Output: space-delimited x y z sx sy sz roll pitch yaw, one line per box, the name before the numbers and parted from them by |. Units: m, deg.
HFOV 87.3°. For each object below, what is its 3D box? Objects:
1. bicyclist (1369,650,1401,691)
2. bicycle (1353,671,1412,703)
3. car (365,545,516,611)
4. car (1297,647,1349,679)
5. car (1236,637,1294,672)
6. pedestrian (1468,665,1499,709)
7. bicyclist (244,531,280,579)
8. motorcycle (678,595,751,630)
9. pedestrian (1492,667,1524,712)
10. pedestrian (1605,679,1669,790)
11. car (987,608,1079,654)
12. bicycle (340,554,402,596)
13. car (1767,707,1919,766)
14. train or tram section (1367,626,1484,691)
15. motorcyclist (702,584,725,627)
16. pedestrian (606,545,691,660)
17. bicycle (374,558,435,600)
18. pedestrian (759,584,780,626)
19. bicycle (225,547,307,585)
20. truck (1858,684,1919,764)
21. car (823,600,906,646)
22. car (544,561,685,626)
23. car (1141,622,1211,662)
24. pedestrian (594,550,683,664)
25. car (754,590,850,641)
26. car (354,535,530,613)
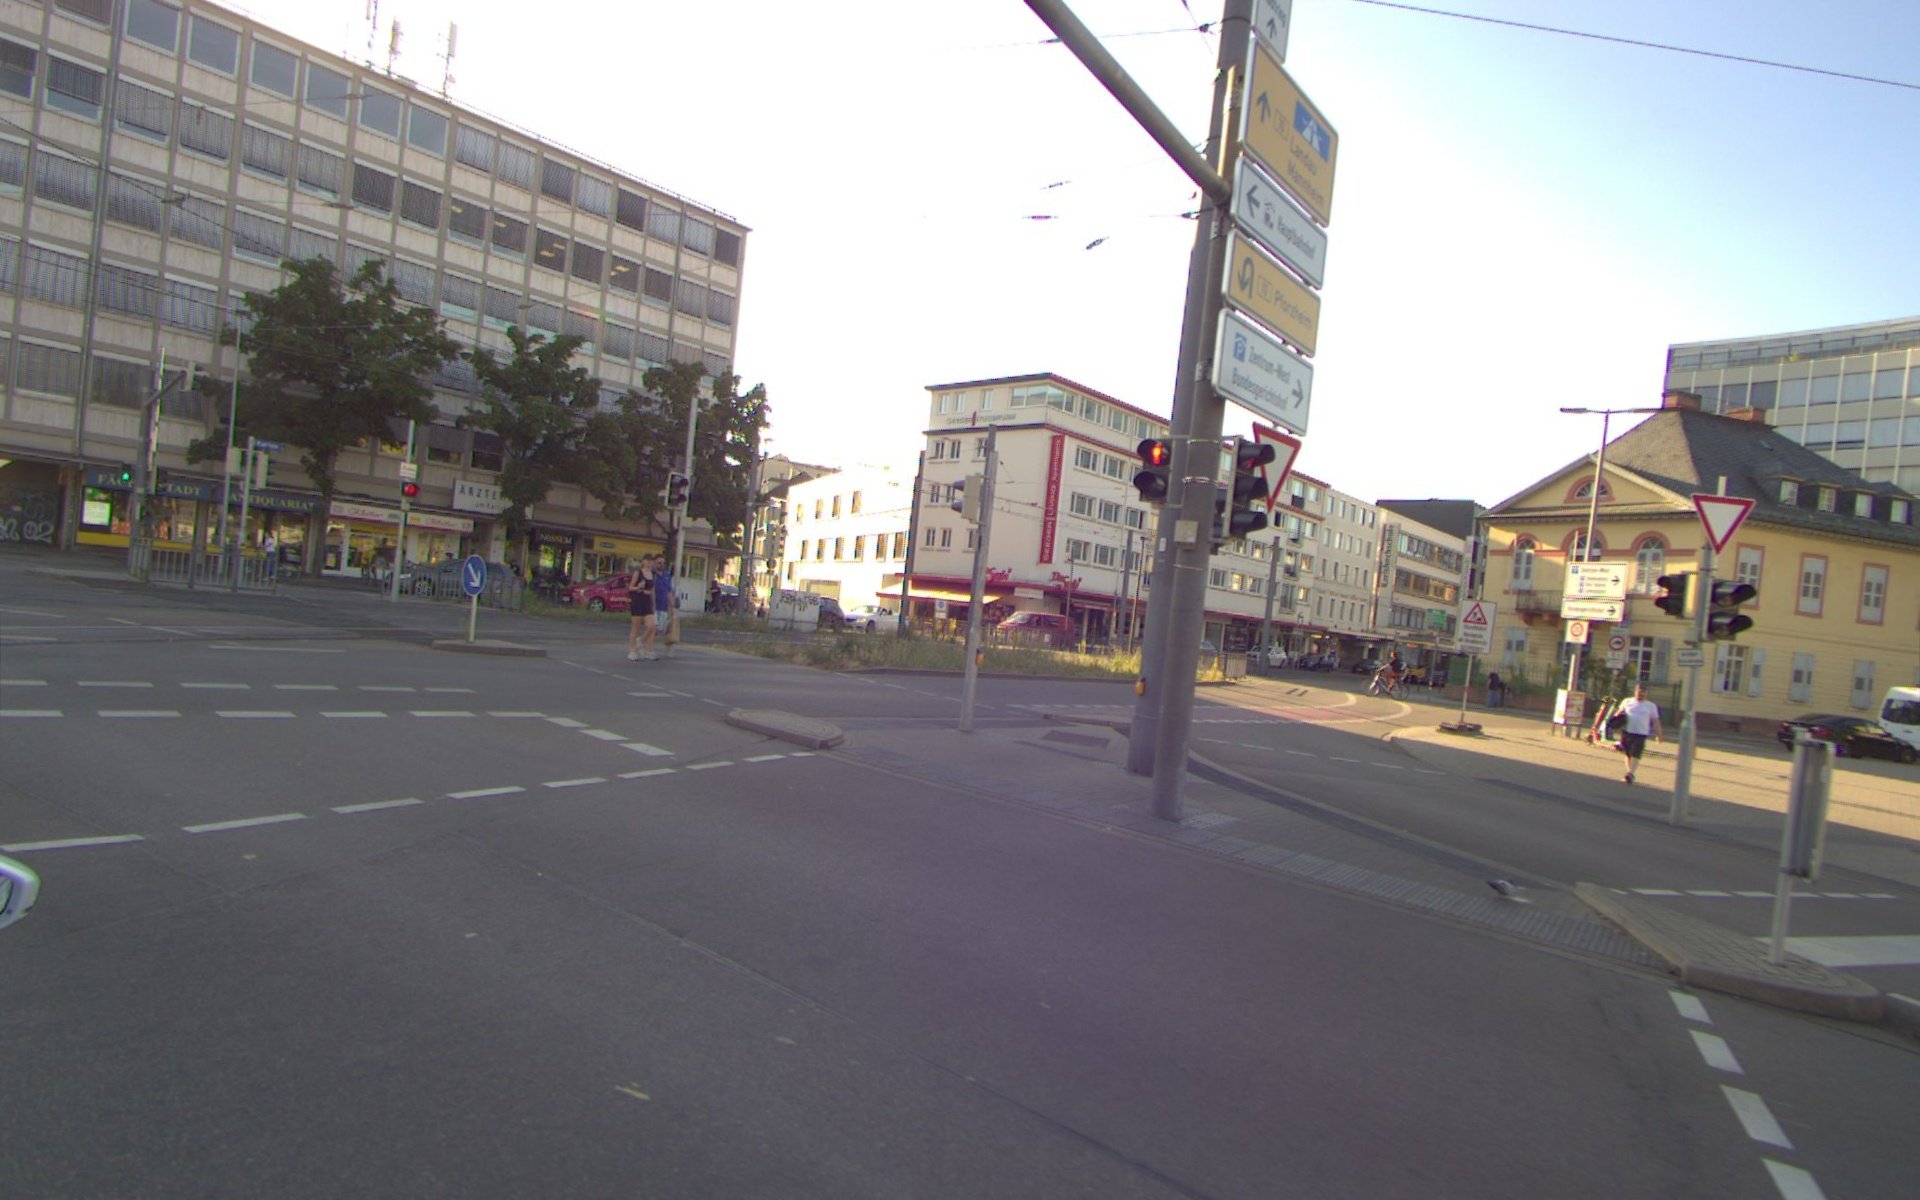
bicyclist | 16.386 2.722 38.802 0.881 1.474 0.725 6 -1 17
bicycle | 16.309 3.343 38.842 1.954 0.959 0.725 6 -1 17
car | -17.481 -0.713 33.997 1.820 1.637 4.061 6 -2 43
car | 29.512 5.141 81.650 1.975 2.037 4.846 6 -2 45
car | 23.041 4.131 75.813 1.975 2.037 4.846 6 -2 45
pedestrian | 21.077 3.476 40.508 0.802 1.661 0.687 7 -1 13
bicyclist | -22.844 -1.466 32.931 0.661 1.441 0.679 6 -1 38
motorcycle | -9.045 0.478 37.173 0.528 1.013 2.658 6 -2 43
pedestrian | 21.919 3.571 40.248 0.802 1.661 0.687 6 -1 16
pedestrian | 11.830 2.337 17.569 0.749 1.783 1.005 6 -1 36
car | 3.879 1.647 52.985 4.590 1.864 1.885 8 -2 -38
bicycle | -21.402 -0.924 36.531 2.597 1.157 0.750 9 0 33
car | 29.795 4.576 33.864 4.125 1.380 1.712 7 -1 -10
train or tram section | 34.896 4.463 74.933 3.667 3.880 13.286 6 -1 43
motorcyclist | -9.081 0.212 37.090 0.528 1.526 0.459 6 -1 44
pedestrian | -5.280 0.054 17.107 1.022 1.814 0.698 7 -1 1
bicycle | -20.705 -0.795 37.497 2.597 1.157 0.750 9 0 33
pedestrian | -9.746 0.251 51.421 0.621 2.037 0.709 7 -1 -33
bicycle | -22.778 -1.096 33.057 0.661 0.951 2.025 6 -2 37
truck | 35.225 4.624 35.432 5.545 2.578 2.298 7 -1 -10
car | -4.271 1.060 45.610 1.812 1.637 3.999 6 -2 26
car | -11.628 -0.195 34.031 1.820 1.637 3.981 6 -2 43
car | 14.011 2.754 65.141 1.975 2.037 4.846 6 -2 45
pedestrian | -5.208 0.127 16.333 1.022 1.702 0.698 7 -1 1
car | -6.333 0.663 40.727 1.811 1.637 4.000 6 -2 24
car | -14.698 -0.718 28.703 1.820 1.637 3.981 6 -2 43
